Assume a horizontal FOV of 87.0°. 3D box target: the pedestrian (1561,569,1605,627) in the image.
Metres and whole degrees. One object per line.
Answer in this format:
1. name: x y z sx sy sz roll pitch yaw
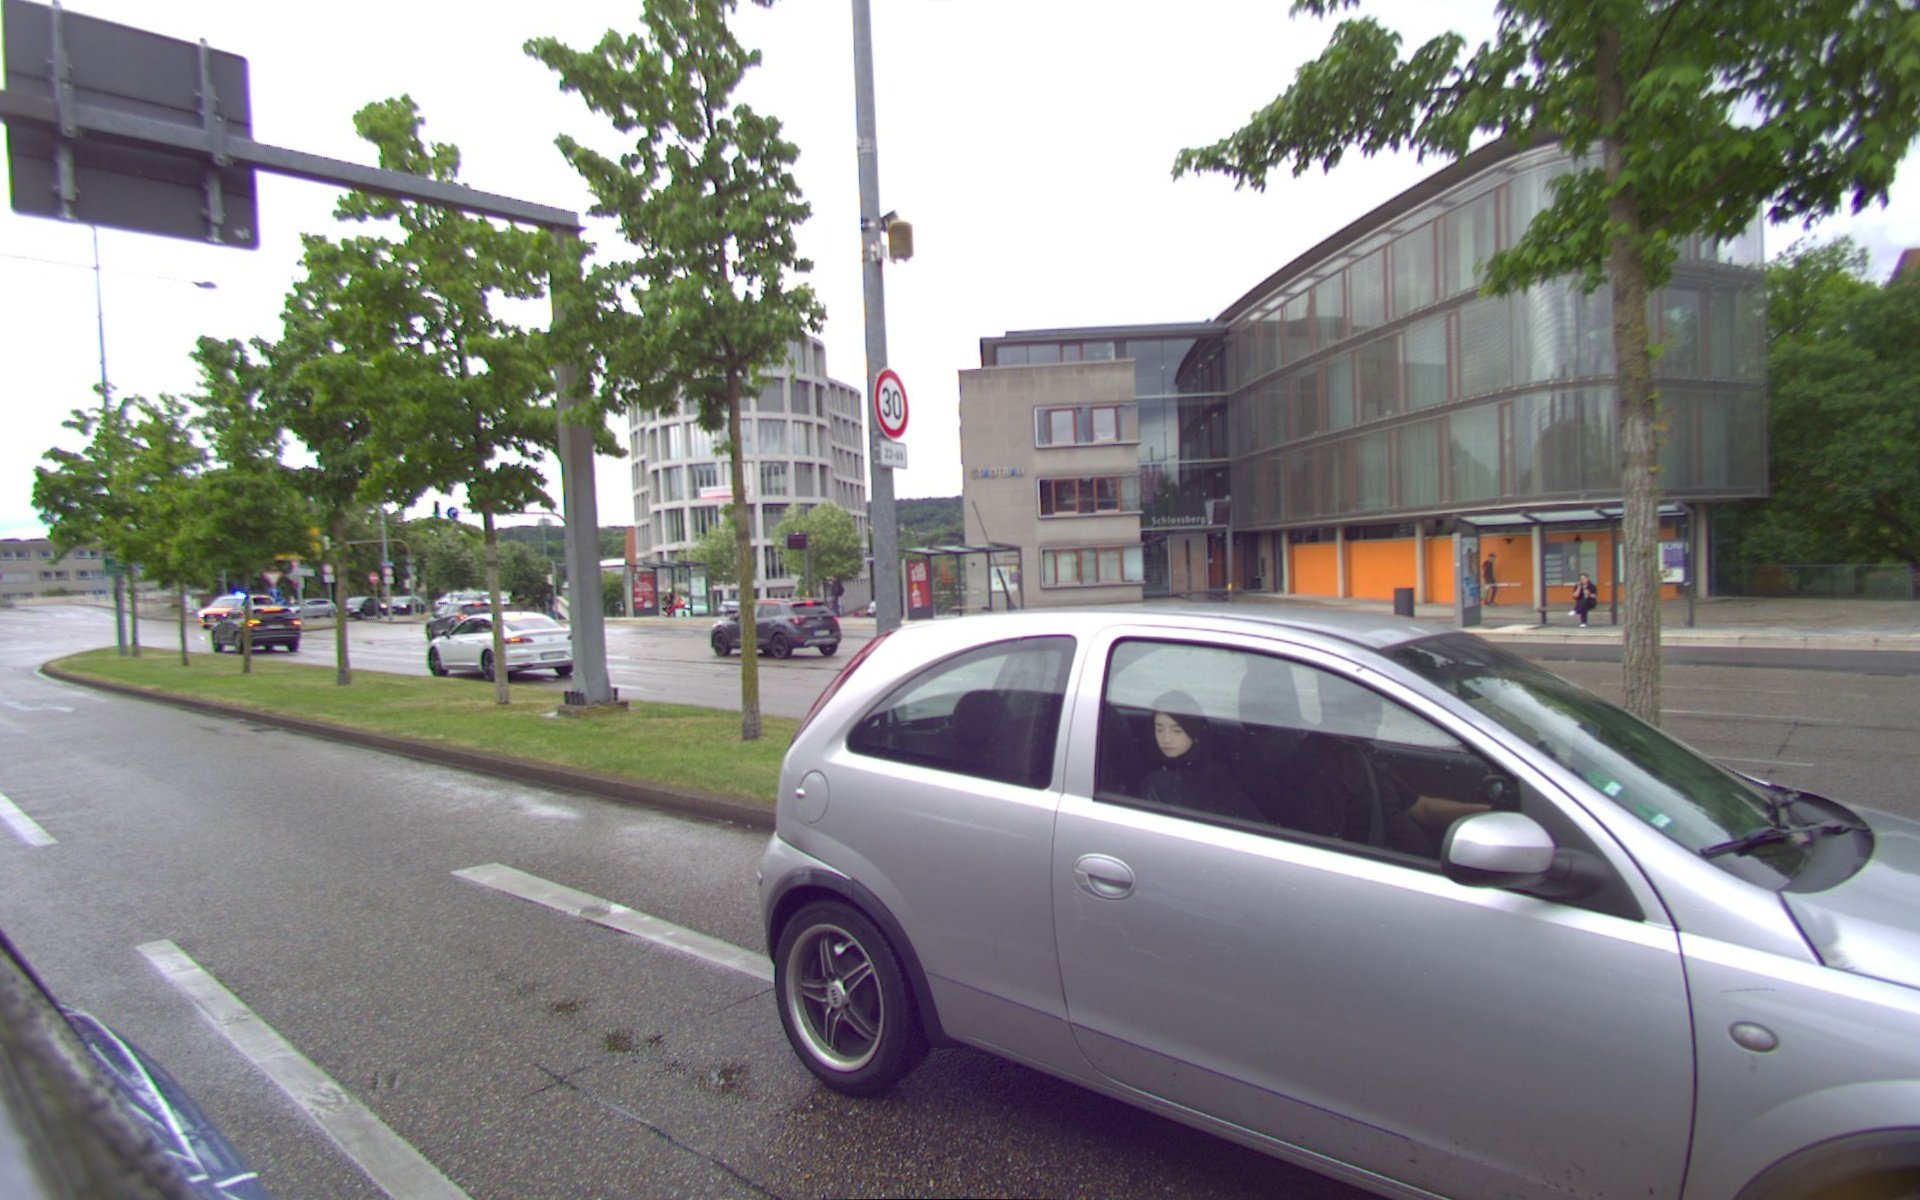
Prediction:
1. pedestrian: 14.495 -0.044 23.555 0.659 1.309 0.720 -1 0 -44

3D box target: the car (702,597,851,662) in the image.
1. car: -4.887 0.739 26.624 4.003 1.566 1.859 -1 0 44

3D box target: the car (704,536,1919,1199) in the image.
1. car: 1.158 0.653 2.630 3.717 1.477 1.677 -1 0 40

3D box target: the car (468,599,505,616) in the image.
1. car: -46.379 0.698 99.226 1.849 1.646 4.160 -1 0 -3

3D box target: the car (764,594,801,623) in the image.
1. car: -11.037 0.517 63.051 1.849 1.714 4.161 -1 0 -4

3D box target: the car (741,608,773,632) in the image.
1. car: -15.456 1.511 77.261 1.849 1.715 4.161 -1 0 -4

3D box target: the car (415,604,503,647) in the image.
1. car: -19.644 0.973 39.600 4.003 1.566 1.859 0 0 44

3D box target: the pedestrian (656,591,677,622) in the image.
1. pedestrian: -14.646 0.334 50.474 0.722 1.501 0.735 -1 0 -41

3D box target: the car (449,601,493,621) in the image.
1. car: -40.735 0.886 84.439 1.849 1.646 4.160 -1 0 -3

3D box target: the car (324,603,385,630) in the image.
1. car: -40.674 1.097 68.130 1.849 1.715 4.161 -1 0 -4

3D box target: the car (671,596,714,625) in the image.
1. car: -16.521 0.604 62.757 1.849 1.715 4.161 -1 0 -4

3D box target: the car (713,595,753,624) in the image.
1. car: -14.043 0.571 62.829 1.849 1.715 4.161 -1 0 -4

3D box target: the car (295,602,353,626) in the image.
1. car: -46.985 1.006 74.885 1.849 1.715 4.160 -1 0 -3

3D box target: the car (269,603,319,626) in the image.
1. car: -50.082 1.055 76.204 1.845 1.646 4.169 -2 0 -14

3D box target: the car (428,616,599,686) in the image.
1. car: -9.970 1.059 22.449 4.164 1.363 1.983 -1 0 43

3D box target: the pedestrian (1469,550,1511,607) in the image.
1. pedestrian: 16.992 -0.690 32.465 0.772 1.769 0.828 -1 -2 -21

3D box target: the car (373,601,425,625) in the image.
1. car: -42.262 0.943 76.327 1.849 1.715 4.160 -1 0 -3

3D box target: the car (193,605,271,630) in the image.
1. car: -48.692 1.123 67.772 1.796 1.571 4.028 -1 0 17

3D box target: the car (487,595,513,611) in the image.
1. car: -49.680 0.352 109.295 1.845 1.646 4.169 -1 0 -15

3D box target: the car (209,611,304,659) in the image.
1. car: -24.989 1.208 35.901 4.165 1.566 1.983 -1 0 44

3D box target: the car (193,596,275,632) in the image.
1. car: -43.386 0.806 60.625 1.968 2.029 5.072 -1 0 -9

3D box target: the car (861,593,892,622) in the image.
1. car: -5.220 0.454 63.422 1.849 1.715 4.161 -1 0 -4

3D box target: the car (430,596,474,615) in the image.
1. car: -44.286 0.473 88.307 1.849 1.646 4.304 -1 0 -3

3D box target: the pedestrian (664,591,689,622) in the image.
1. pedestrian: -13.937 0.324 49.765 0.969 1.501 0.735 -1 0 -39
